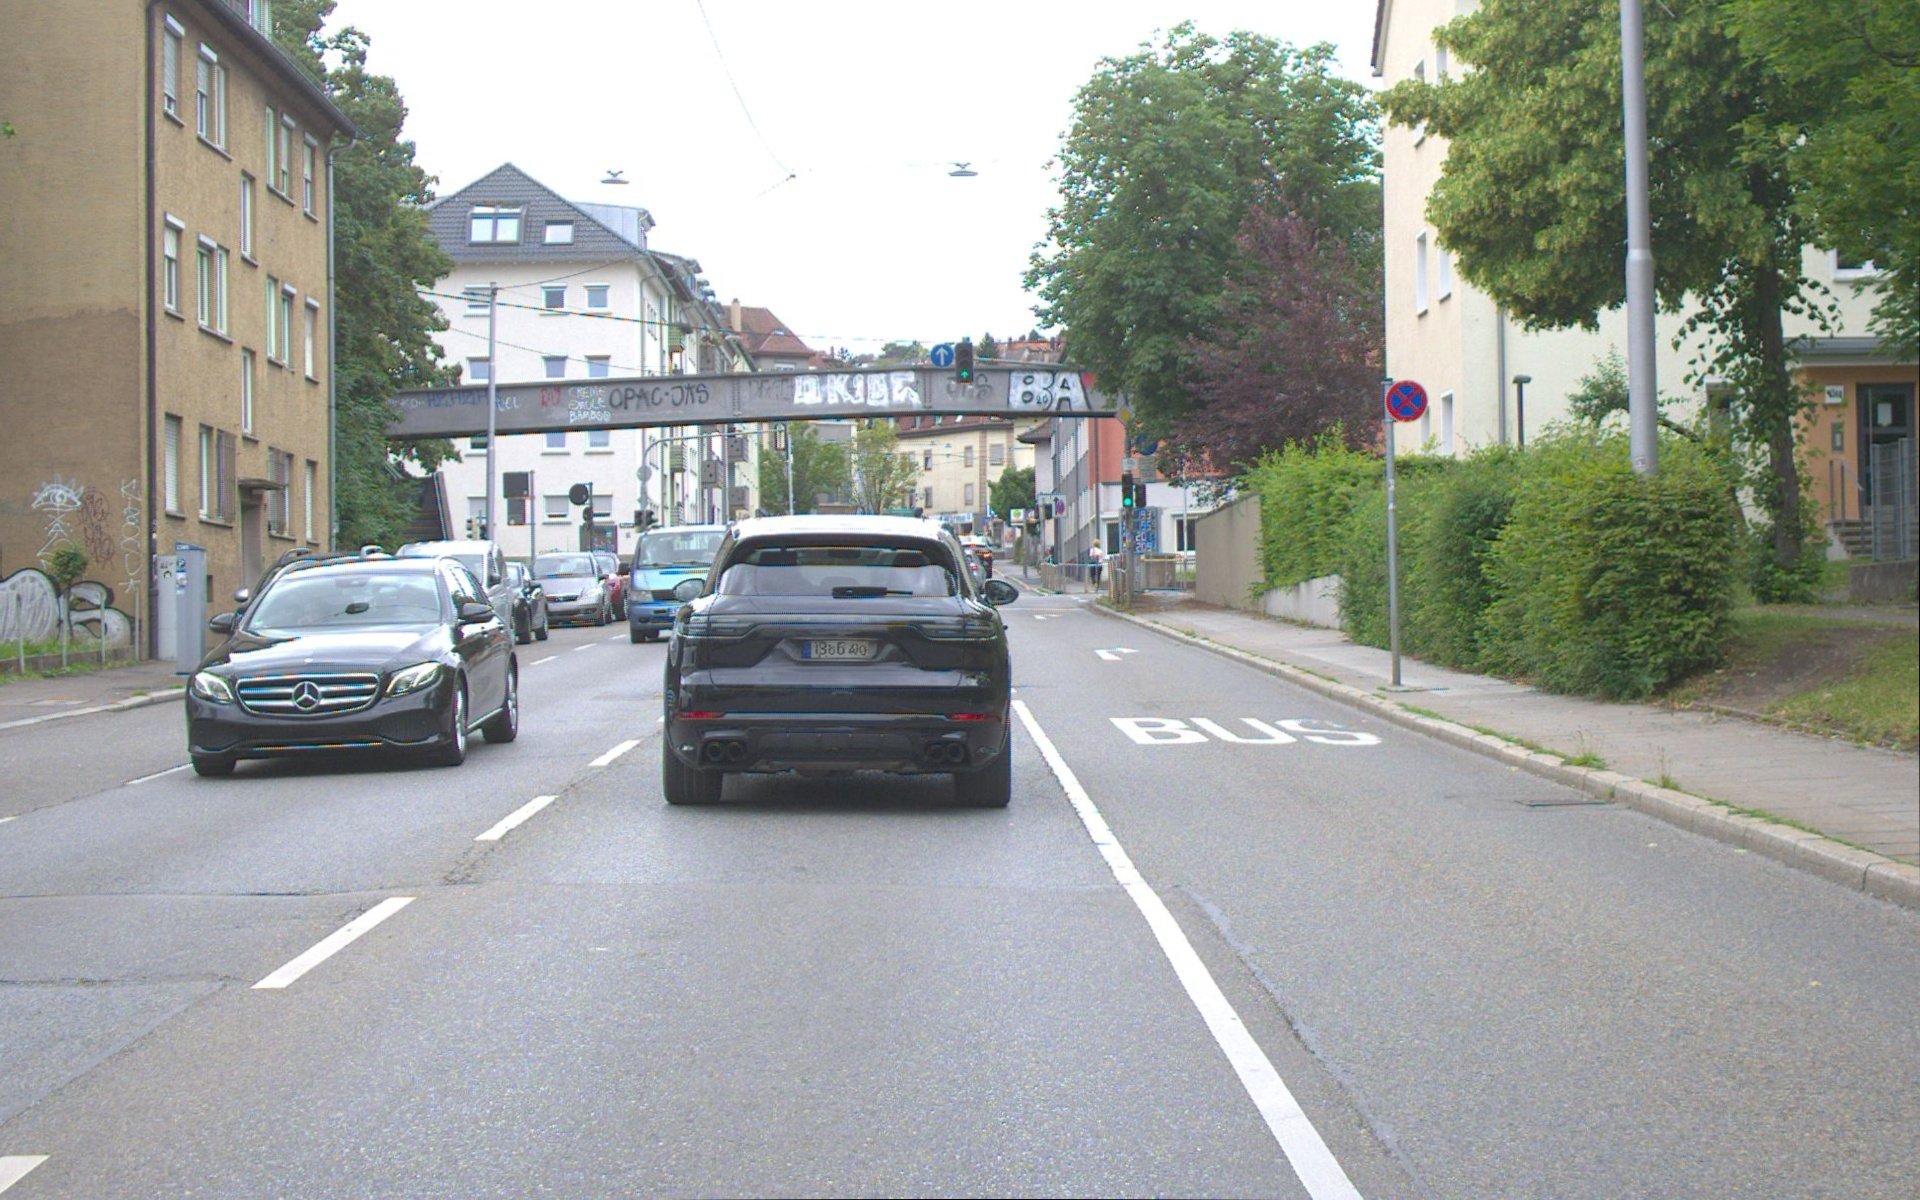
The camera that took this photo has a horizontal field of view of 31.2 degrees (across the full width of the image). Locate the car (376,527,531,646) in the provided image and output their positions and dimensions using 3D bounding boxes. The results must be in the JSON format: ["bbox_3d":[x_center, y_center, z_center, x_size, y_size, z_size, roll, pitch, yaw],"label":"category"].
[{"bbox_3d":[-7.939,-0.242,54.261,1.776,1.748,4.558,-2,1,-1],"label":"car"}]

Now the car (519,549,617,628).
[{"bbox_3d":[-8.292,-0.263,72.983,1.745,1.563,3.909,-2,1,-2],"label":"car"}]

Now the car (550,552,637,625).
[{"bbox_3d":[-8.252,-0.283,77.725,1.533,1.535,3.982,-2,1,-1],"label":"car"}]

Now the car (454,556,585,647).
[{"bbox_3d":[-7.557,-0.001,59.287,1.745,1.434,3.913,-2,1,-1],"label":"car"}]

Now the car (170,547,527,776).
[{"bbox_3d":[-4.344,0.376,25.083,1.778,1.461,4.499,-1,1,0],"label":"car"}]

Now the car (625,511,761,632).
[{"bbox_3d":[-4.392,-0.500,57.077,1.931,1.894,4.590,-1,1,-1],"label":"car"}]

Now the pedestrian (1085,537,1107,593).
[{"bbox_3d":[4.350,-1.132,109.992,0.652,1.786,0.715,0,1,-3],"label":"pedestrian"}]

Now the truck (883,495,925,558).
[{"bbox_3d":[-3.138,-4.098,193.400,2.266,3.412,9.879,-1,1,-1],"label":"truck"}]

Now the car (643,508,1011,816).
[{"bbox_3d":[-0.730,0.282,20.657,1.993,1.656,4.000,0,2,0],"label":"car"}]

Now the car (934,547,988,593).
[{"bbox_3d":[0.017,-0.981,111.942,1.741,1.395,4.000,0,2,0],"label":"car"}]

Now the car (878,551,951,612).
[{"bbox_3d":[-1.108,-0.464,84.388,1.741,1.395,4.000,0,2,0],"label":"car"}]

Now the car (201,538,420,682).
[{"bbox_3d":[-7.987,0.077,42.647,1.783,1.603,4.265,-3,1,1],"label":"car"}]
